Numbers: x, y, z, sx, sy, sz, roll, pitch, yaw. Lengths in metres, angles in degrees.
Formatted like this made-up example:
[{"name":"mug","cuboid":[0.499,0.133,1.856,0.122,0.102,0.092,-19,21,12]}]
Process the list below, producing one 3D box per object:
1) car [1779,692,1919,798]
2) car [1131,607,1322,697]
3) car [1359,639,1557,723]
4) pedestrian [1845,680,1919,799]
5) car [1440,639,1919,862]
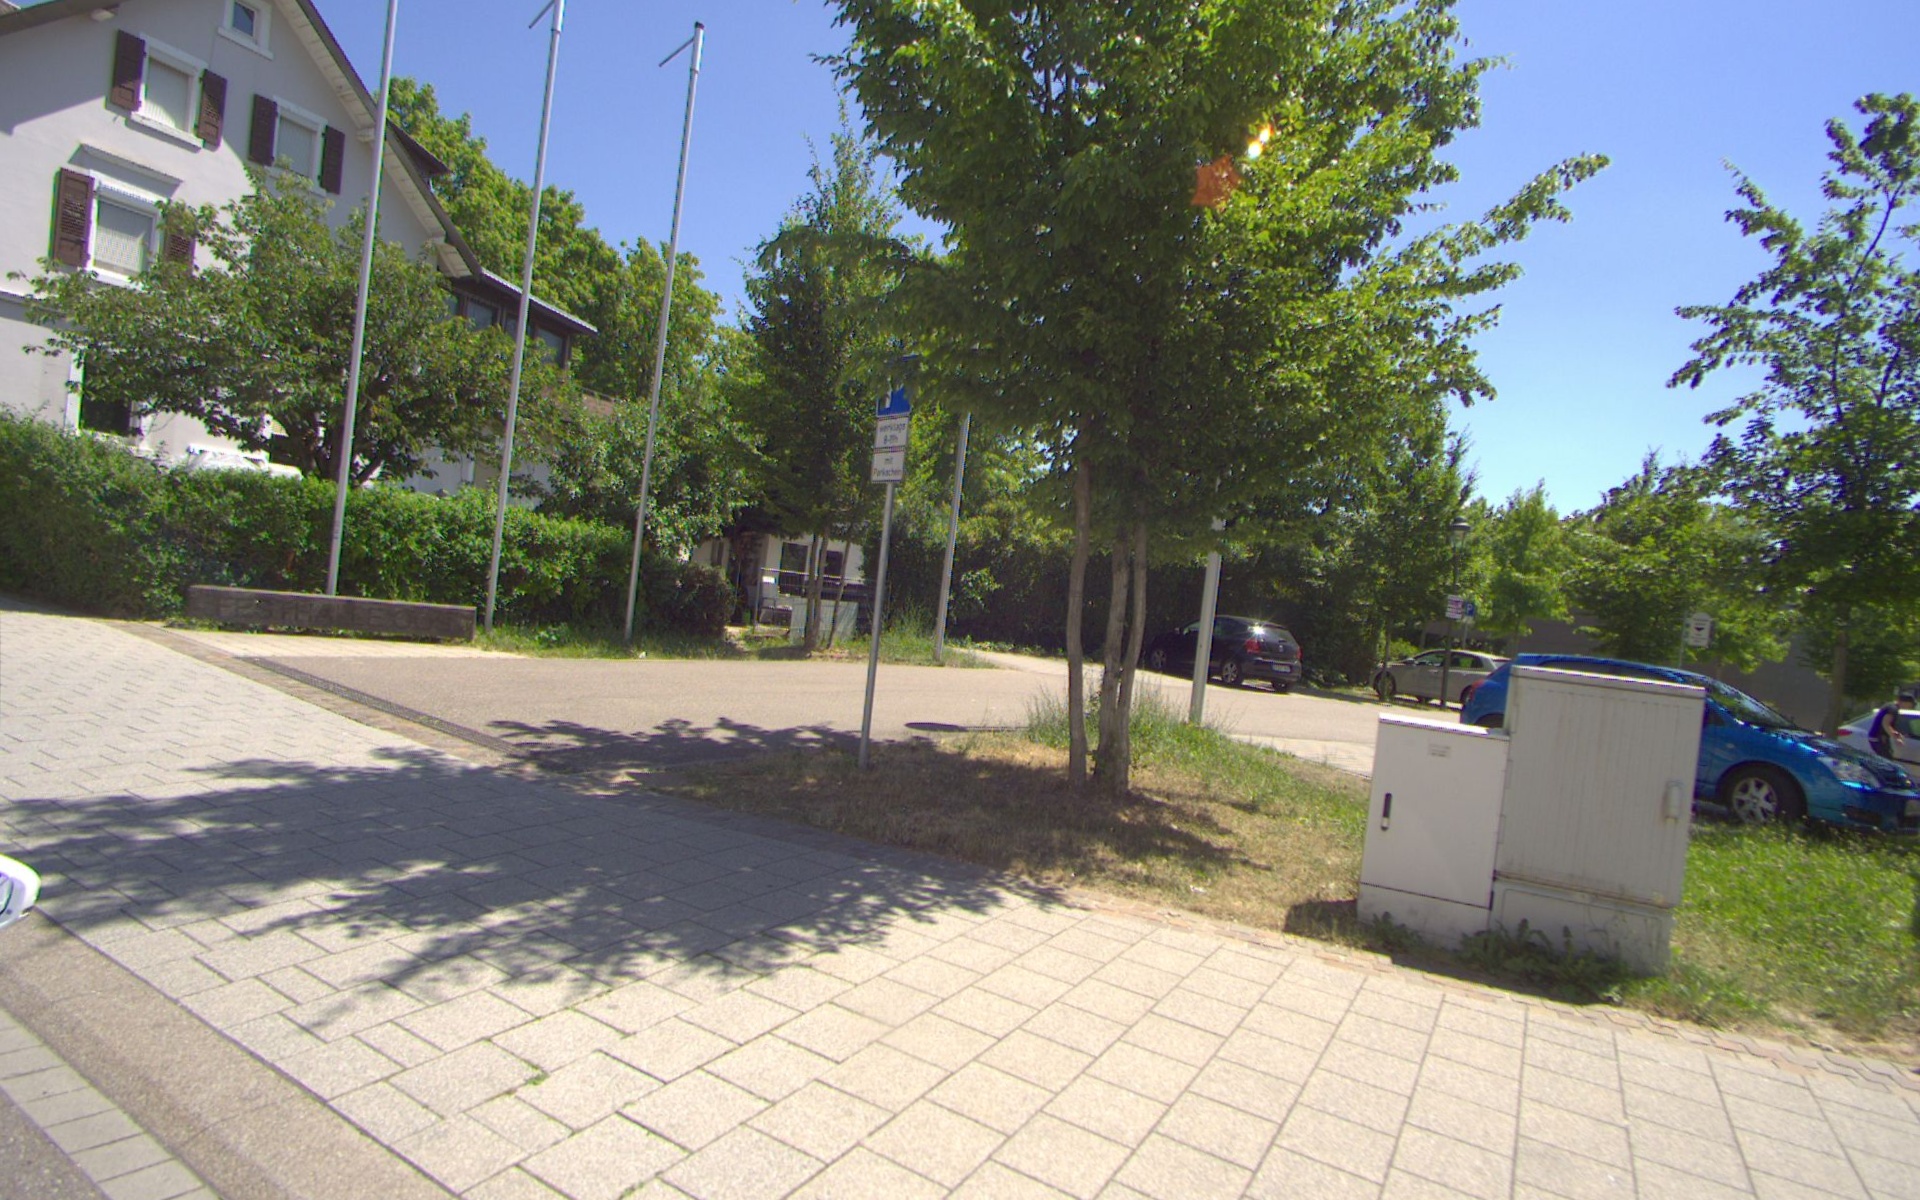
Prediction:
[{"name":"car","cuboid":[16.619,2.606,16.770,1.797,1.459,4.139,6,1,-30]},{"name":"car","cuboid":[5.788,1.091,22.327,1.853,1.459,3.974,6,0,-25]},{"name":"car","cuboid":[12.237,1.959,25.005,1.854,1.459,3.972,6,0,-27]},{"name":"pedestrian","cuboid":[15.124,2.269,16.434,0.630,1.814,0.692,5,2,-33]},{"name":"car","cuboid":[7.670,1.451,10.787,1.797,1.459,4.139,7,1,-30]}]
